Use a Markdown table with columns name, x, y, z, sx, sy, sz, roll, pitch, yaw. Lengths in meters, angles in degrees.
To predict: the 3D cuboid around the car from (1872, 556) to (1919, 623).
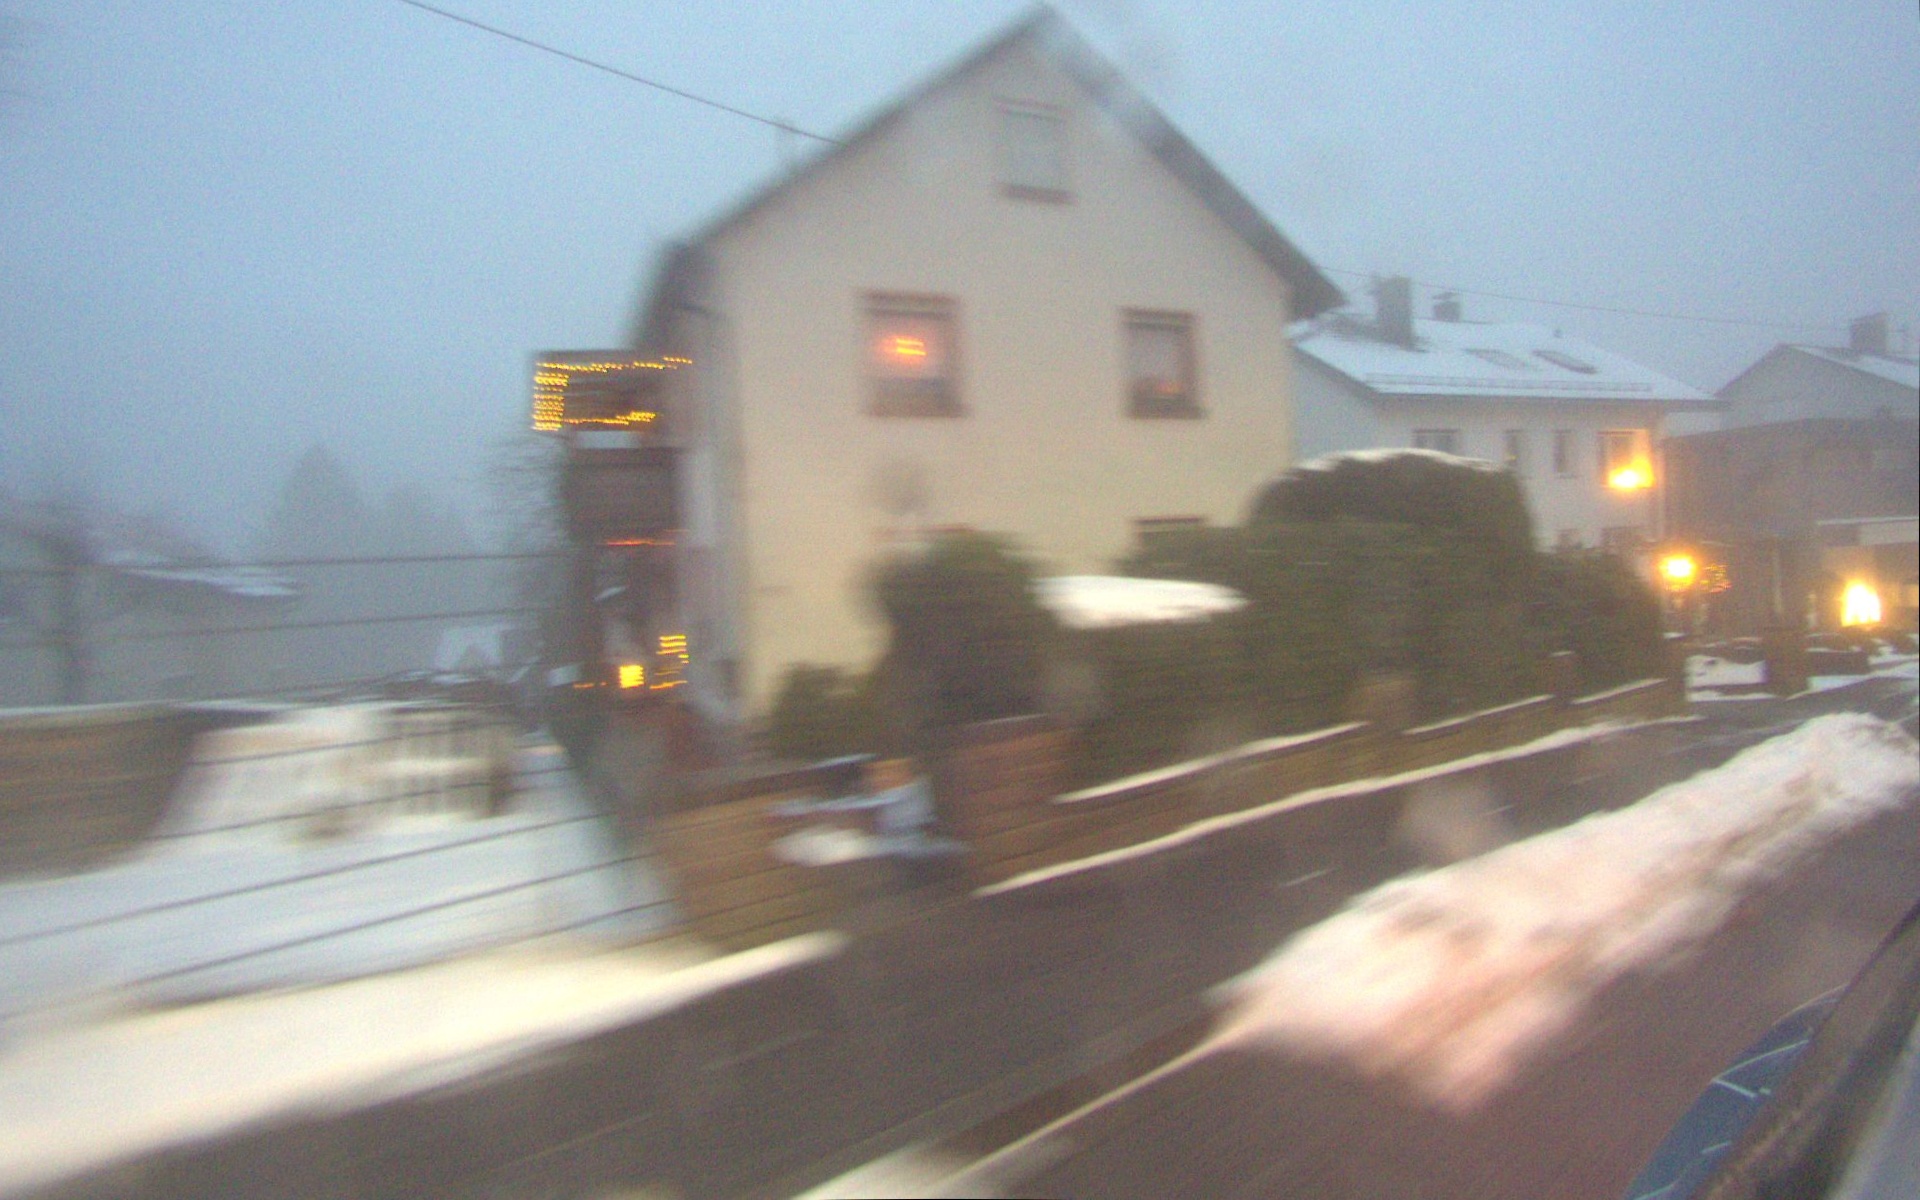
| name | x | y | z | sx | sy | sz | roll | pitch | yaw |
| --- | --- | --- | --- | --- | --- | --- | --- | --- | --- |
| car | 28.837 | -0.294 | 28.545 | 1.872 | 1.881 | 4.229 | -2 | 2 | -22 |
